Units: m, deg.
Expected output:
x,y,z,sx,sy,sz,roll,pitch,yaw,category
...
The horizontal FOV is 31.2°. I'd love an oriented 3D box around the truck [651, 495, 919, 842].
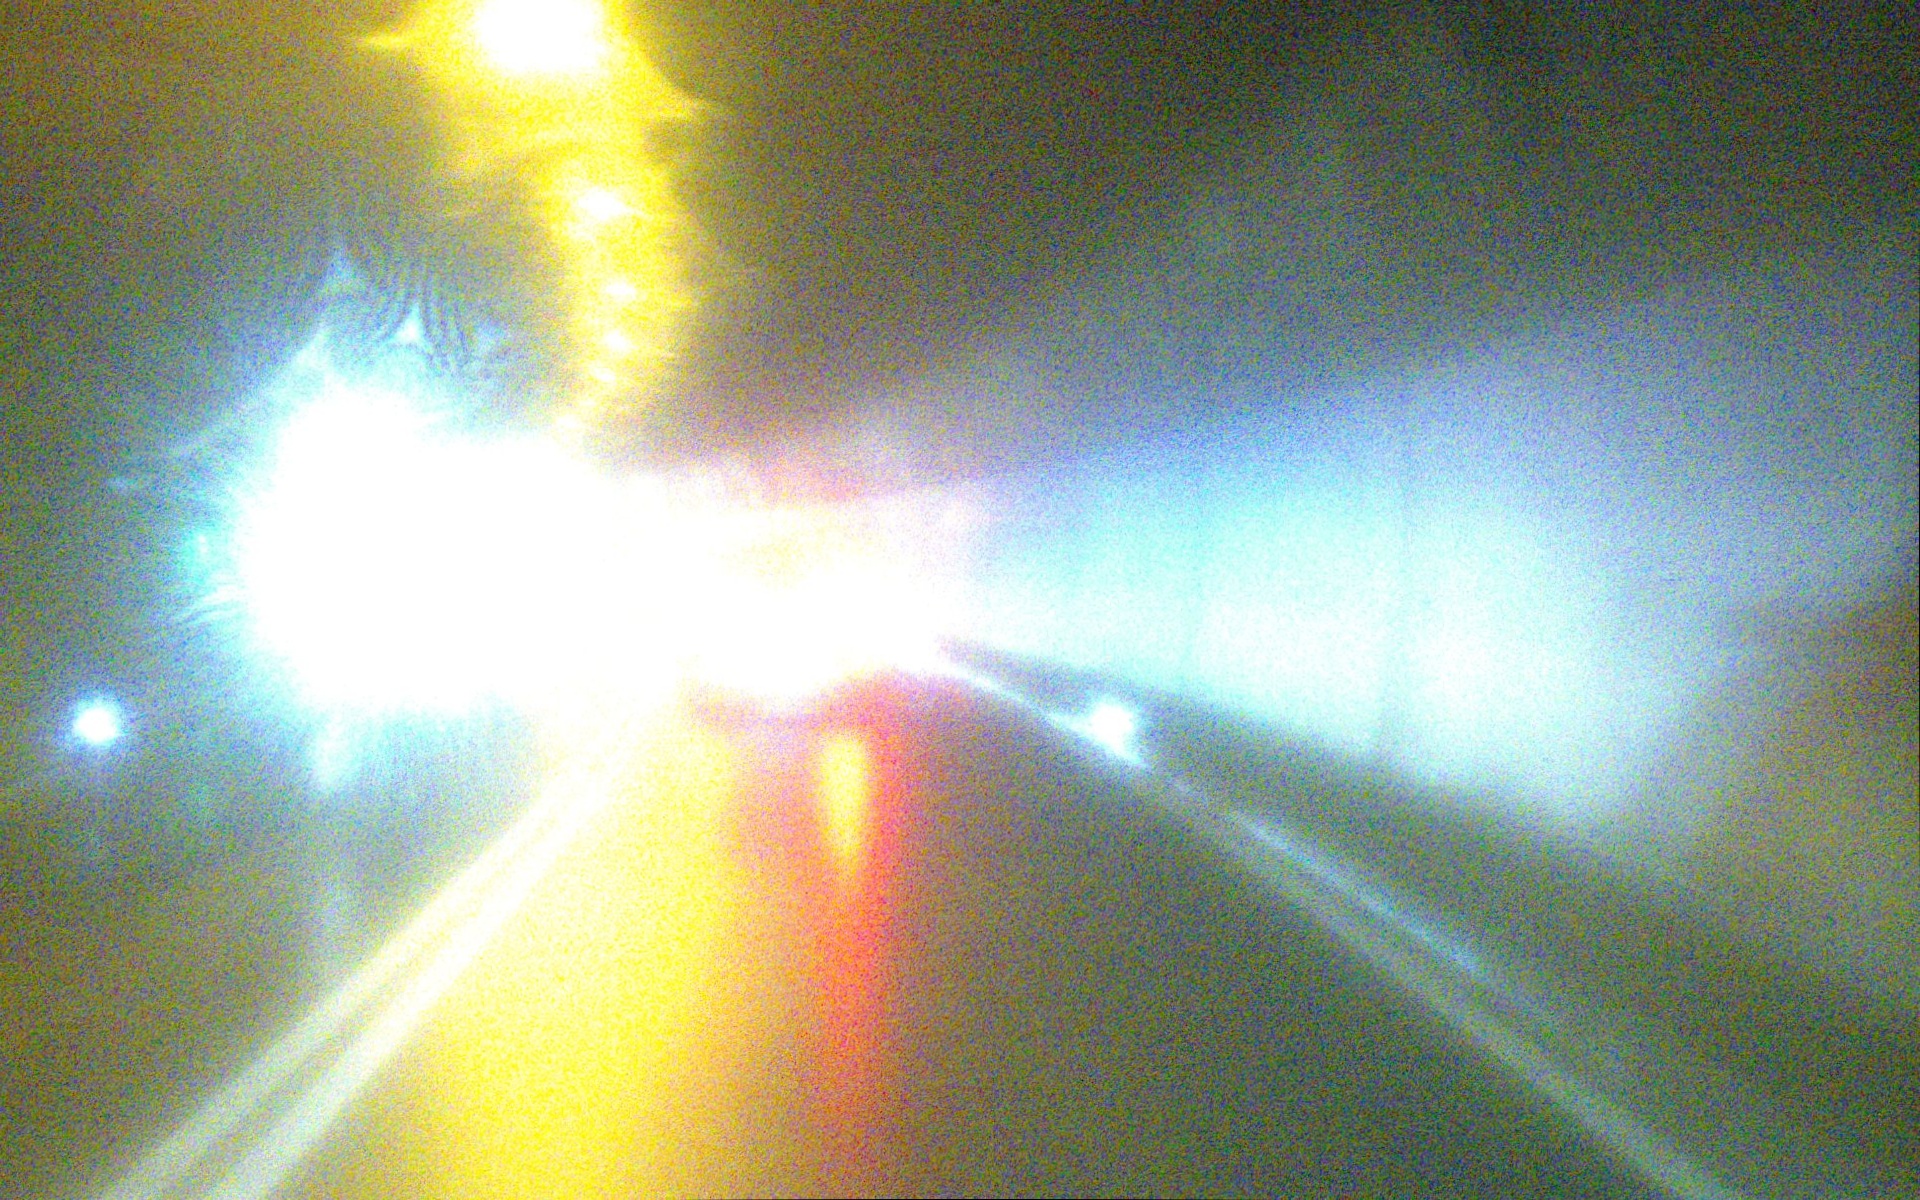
x,y,z,sx,sy,sz,roll,pitch,yaw,category
-1.713,0.562,34.364,2.262,3.000,7.416,3,1,-2,truck
